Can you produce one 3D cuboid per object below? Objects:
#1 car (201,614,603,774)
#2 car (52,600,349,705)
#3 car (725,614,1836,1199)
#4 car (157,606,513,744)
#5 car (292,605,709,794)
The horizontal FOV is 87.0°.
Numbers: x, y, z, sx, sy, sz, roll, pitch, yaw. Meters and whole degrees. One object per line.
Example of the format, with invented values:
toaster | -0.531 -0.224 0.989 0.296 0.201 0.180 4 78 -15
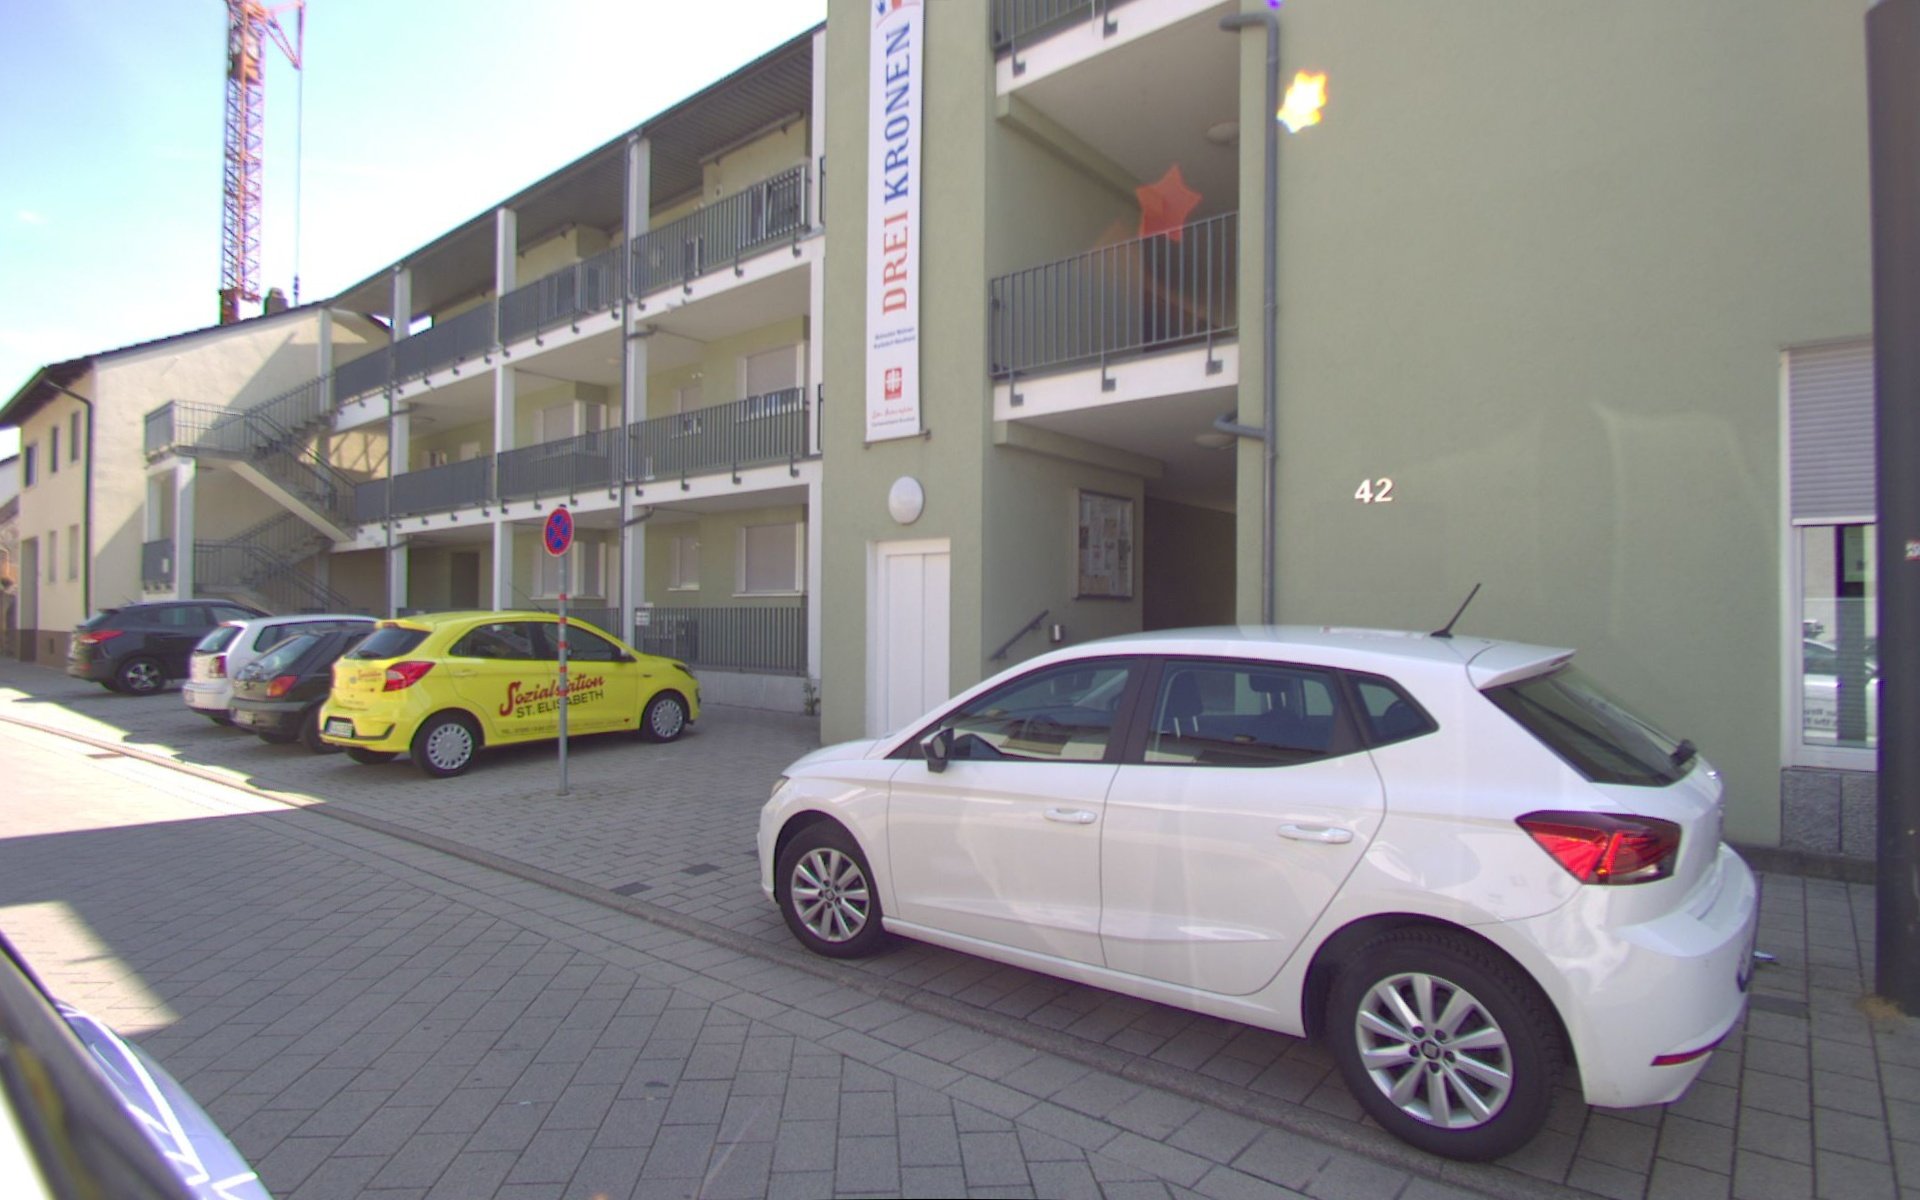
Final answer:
car | -6.630 0.991 12.389 1.690 1.452 3.947 -1 1 40
car | -14.180 0.891 19.088 1.783 1.671 4.176 -1 1 40
car | 0.953 0.799 4.104 3.875 1.421 1.740 -1 0 40
car | -8.539 0.914 14.079 1.750 1.514 3.860 -1 1 41
car | -4.665 0.877 10.716 1.669 1.536 3.659 -1 1 36
